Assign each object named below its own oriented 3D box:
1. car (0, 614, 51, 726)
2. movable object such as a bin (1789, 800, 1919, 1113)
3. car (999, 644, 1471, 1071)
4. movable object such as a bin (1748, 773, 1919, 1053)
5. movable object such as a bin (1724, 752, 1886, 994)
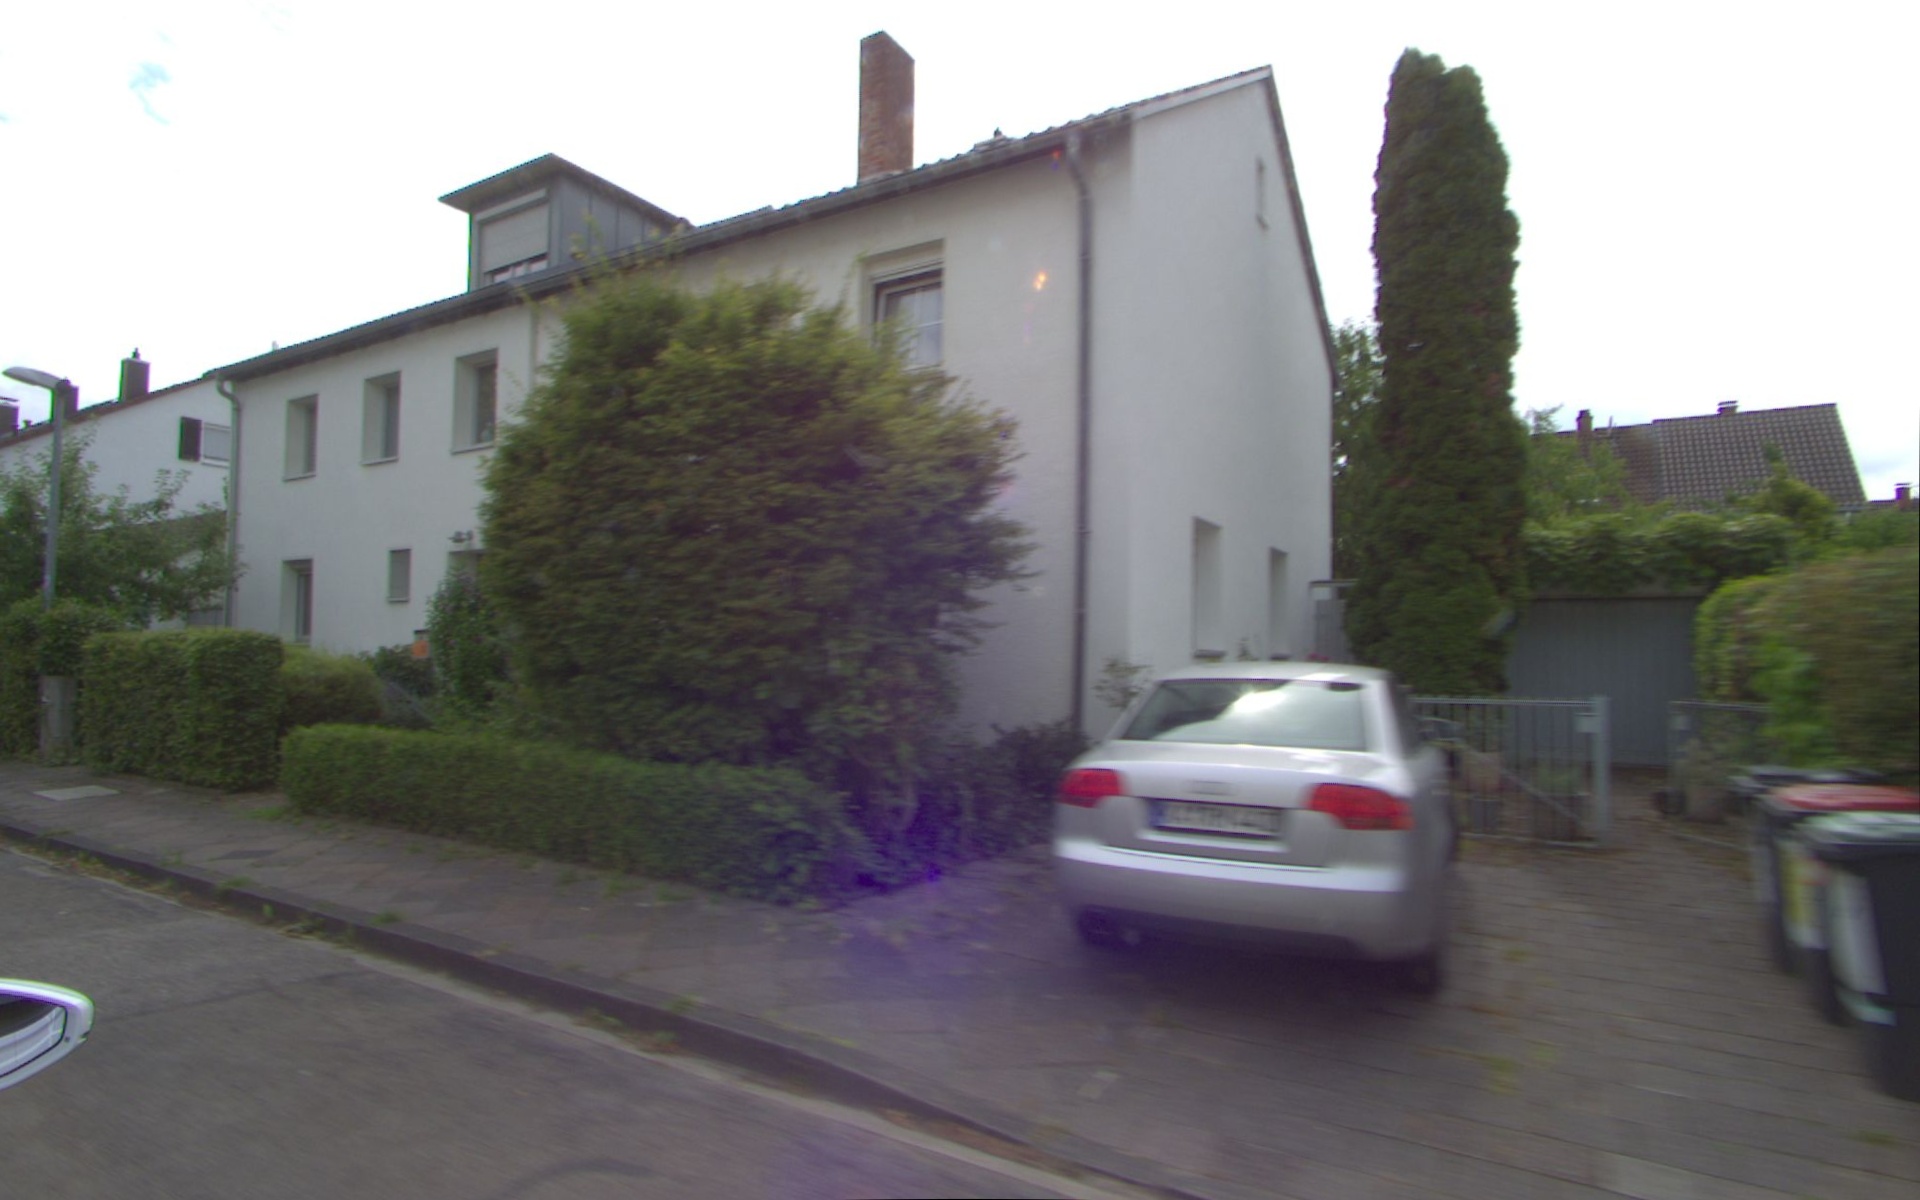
[{"bbox_3d":[-17.417,1.174,16.841,4.274,1.800,1.824,-1,-1,28],"label":"car"},{"bbox_3d":[3.266,1.217,3.490,0.493,0.932,0.509,-1,-3,31],"label":"movable object such as a bin"},{"bbox_3d":[1.853,1.007,5.766,1.823,1.445,4.021,0,-2,26],"label":"car"},{"bbox_3d":[3.607,1.245,4.127,0.493,0.979,0.509,-1,-3,31],"label":"movable object such as a bin"},{"bbox_3d":[3.953,1.242,4.721,0.493,0.979,0.509,-1,-3,31],"label":"movable object such as a bin"}]
